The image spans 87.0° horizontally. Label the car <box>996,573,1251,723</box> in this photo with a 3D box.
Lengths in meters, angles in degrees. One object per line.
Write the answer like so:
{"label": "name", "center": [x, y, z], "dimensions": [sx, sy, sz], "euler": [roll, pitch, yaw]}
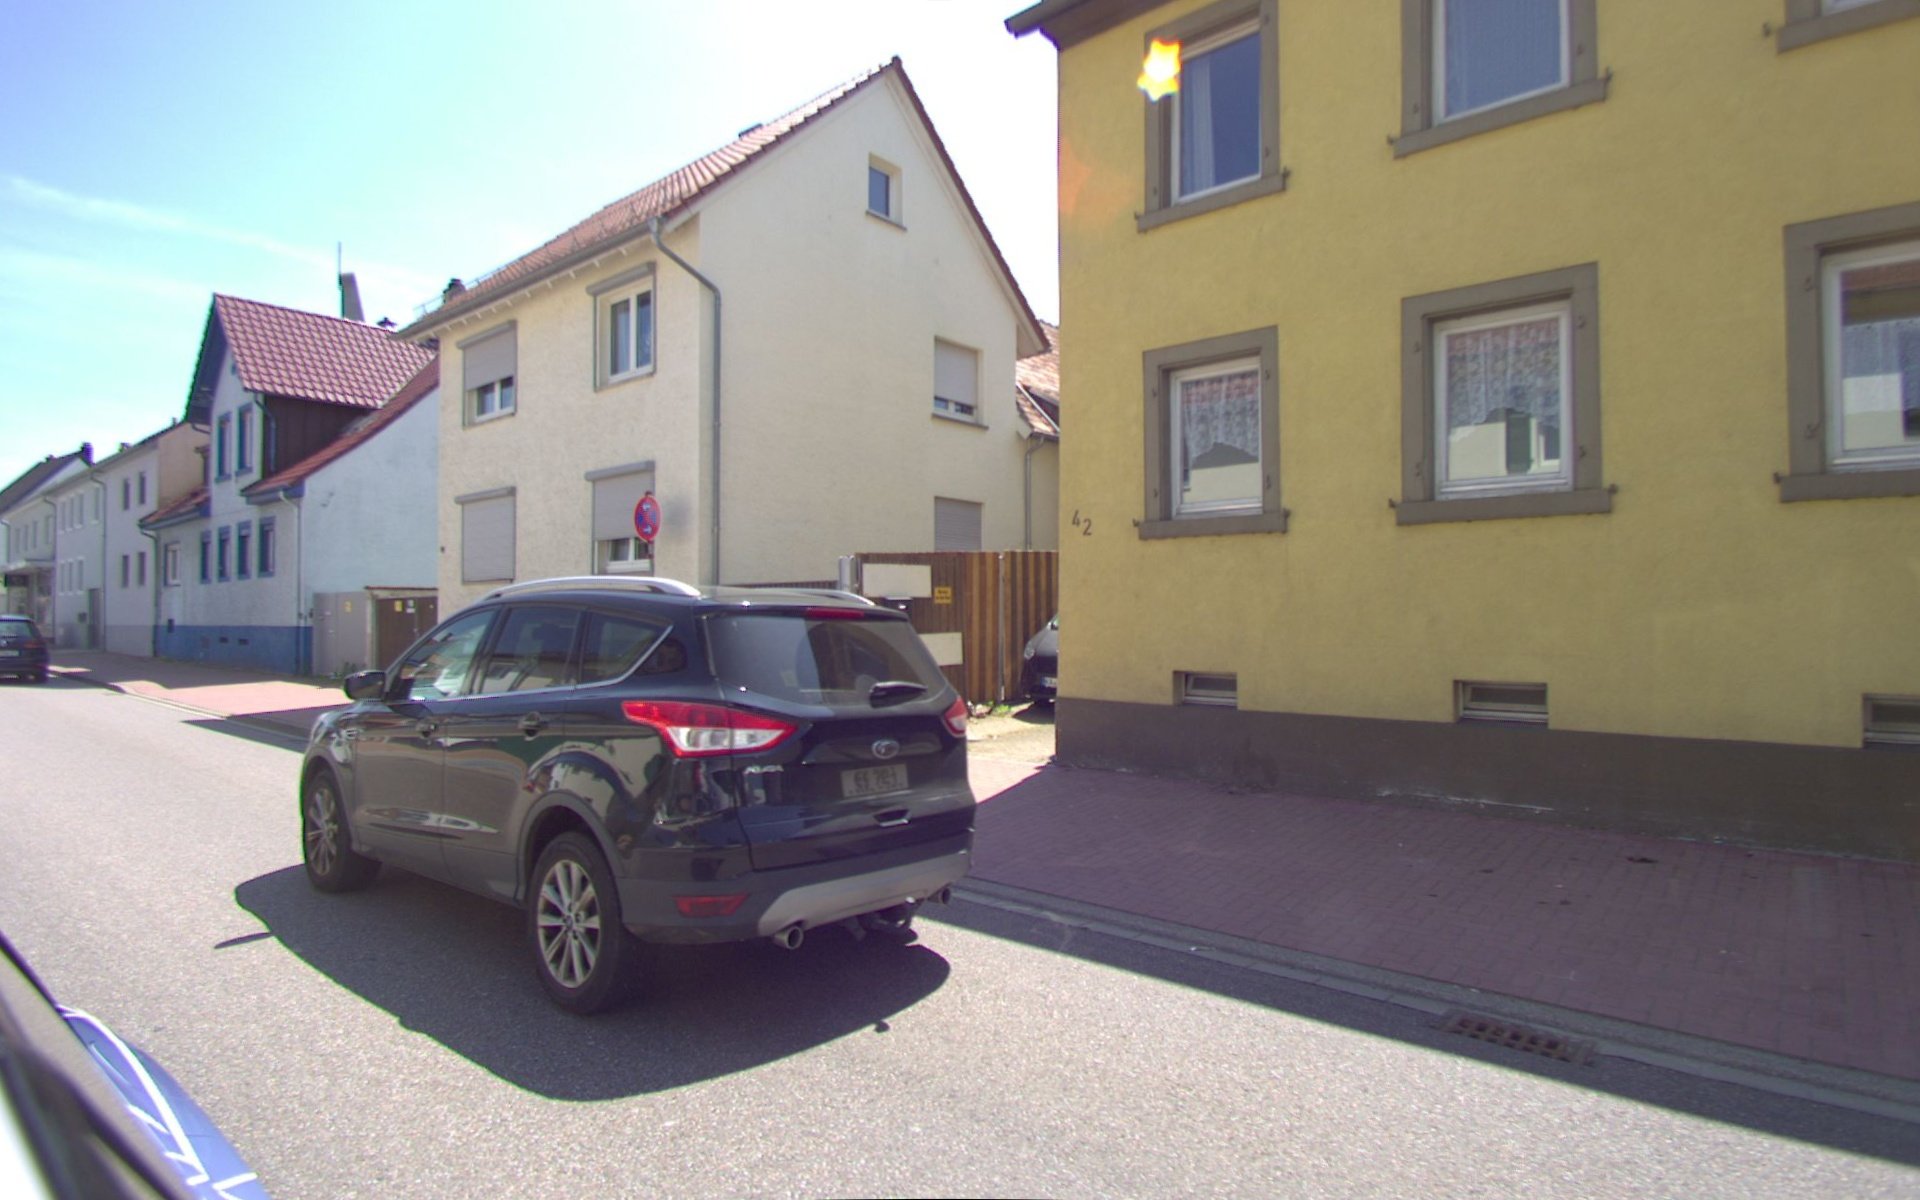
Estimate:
{"label": "car", "center": [2.386, 0.533, 13.957], "dimensions": [1.815, 1.688, 3.951], "euler": [-1, 1, 37]}

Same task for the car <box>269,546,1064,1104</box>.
{"label": "car", "center": [-1.766, 0.739, 5.178], "dimensions": [4.320, 1.682, 1.820], "euler": [-1, -3, 40]}

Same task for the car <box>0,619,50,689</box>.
{"label": "car", "center": [-22.823, 1.218, 23.639], "dimensions": [4.075, 1.548, 1.747], "euler": [-1, -3, 40]}

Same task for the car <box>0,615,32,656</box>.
{"label": "car", "center": [-39.139, 1.418, 40.971], "dimensions": [4.562, 1.569, 1.789], "euler": [-1, 1, 41]}
